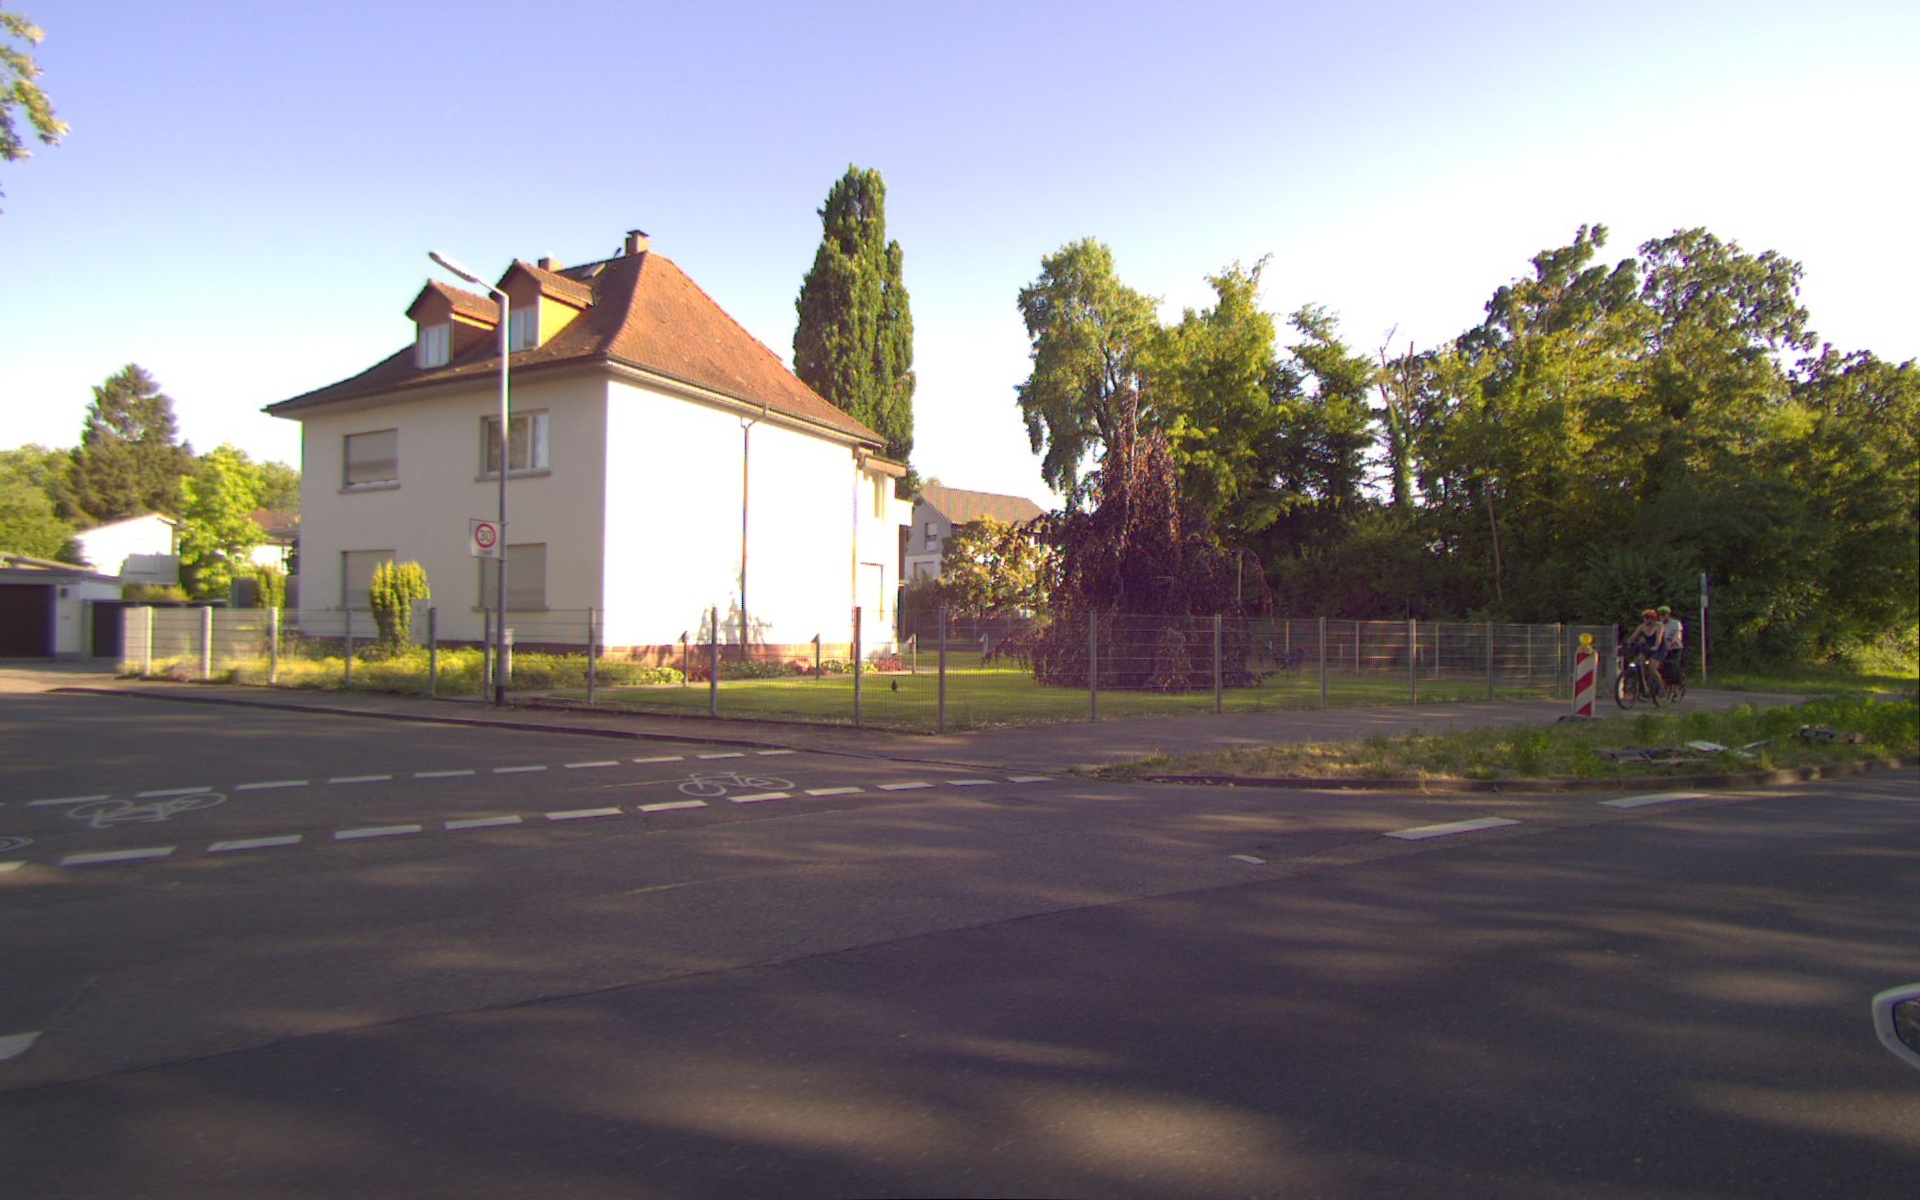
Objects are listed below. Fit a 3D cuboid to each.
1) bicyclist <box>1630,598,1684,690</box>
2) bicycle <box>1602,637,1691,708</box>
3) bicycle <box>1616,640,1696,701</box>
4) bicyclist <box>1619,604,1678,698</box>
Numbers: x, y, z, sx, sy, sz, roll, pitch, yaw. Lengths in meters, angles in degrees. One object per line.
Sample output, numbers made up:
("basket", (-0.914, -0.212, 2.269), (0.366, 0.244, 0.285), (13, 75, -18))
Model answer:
("bicyclist", (14.421, 0.919, 20.781), (0.957, 1.856, 0.576), (3, -2, -31))
("bicycle", (12.878, 1.331, 18.819), (2.083, 1.262, 0.576), (2, -2, -31))
("bicycle", (14.396, 1.468, 20.759), (2.009, 1.201, 0.576), (3, -2, -31))
("bicyclist", (12.907, 0.947, 18.839), (0.959, 1.702, 0.576), (1, -1, -31))
